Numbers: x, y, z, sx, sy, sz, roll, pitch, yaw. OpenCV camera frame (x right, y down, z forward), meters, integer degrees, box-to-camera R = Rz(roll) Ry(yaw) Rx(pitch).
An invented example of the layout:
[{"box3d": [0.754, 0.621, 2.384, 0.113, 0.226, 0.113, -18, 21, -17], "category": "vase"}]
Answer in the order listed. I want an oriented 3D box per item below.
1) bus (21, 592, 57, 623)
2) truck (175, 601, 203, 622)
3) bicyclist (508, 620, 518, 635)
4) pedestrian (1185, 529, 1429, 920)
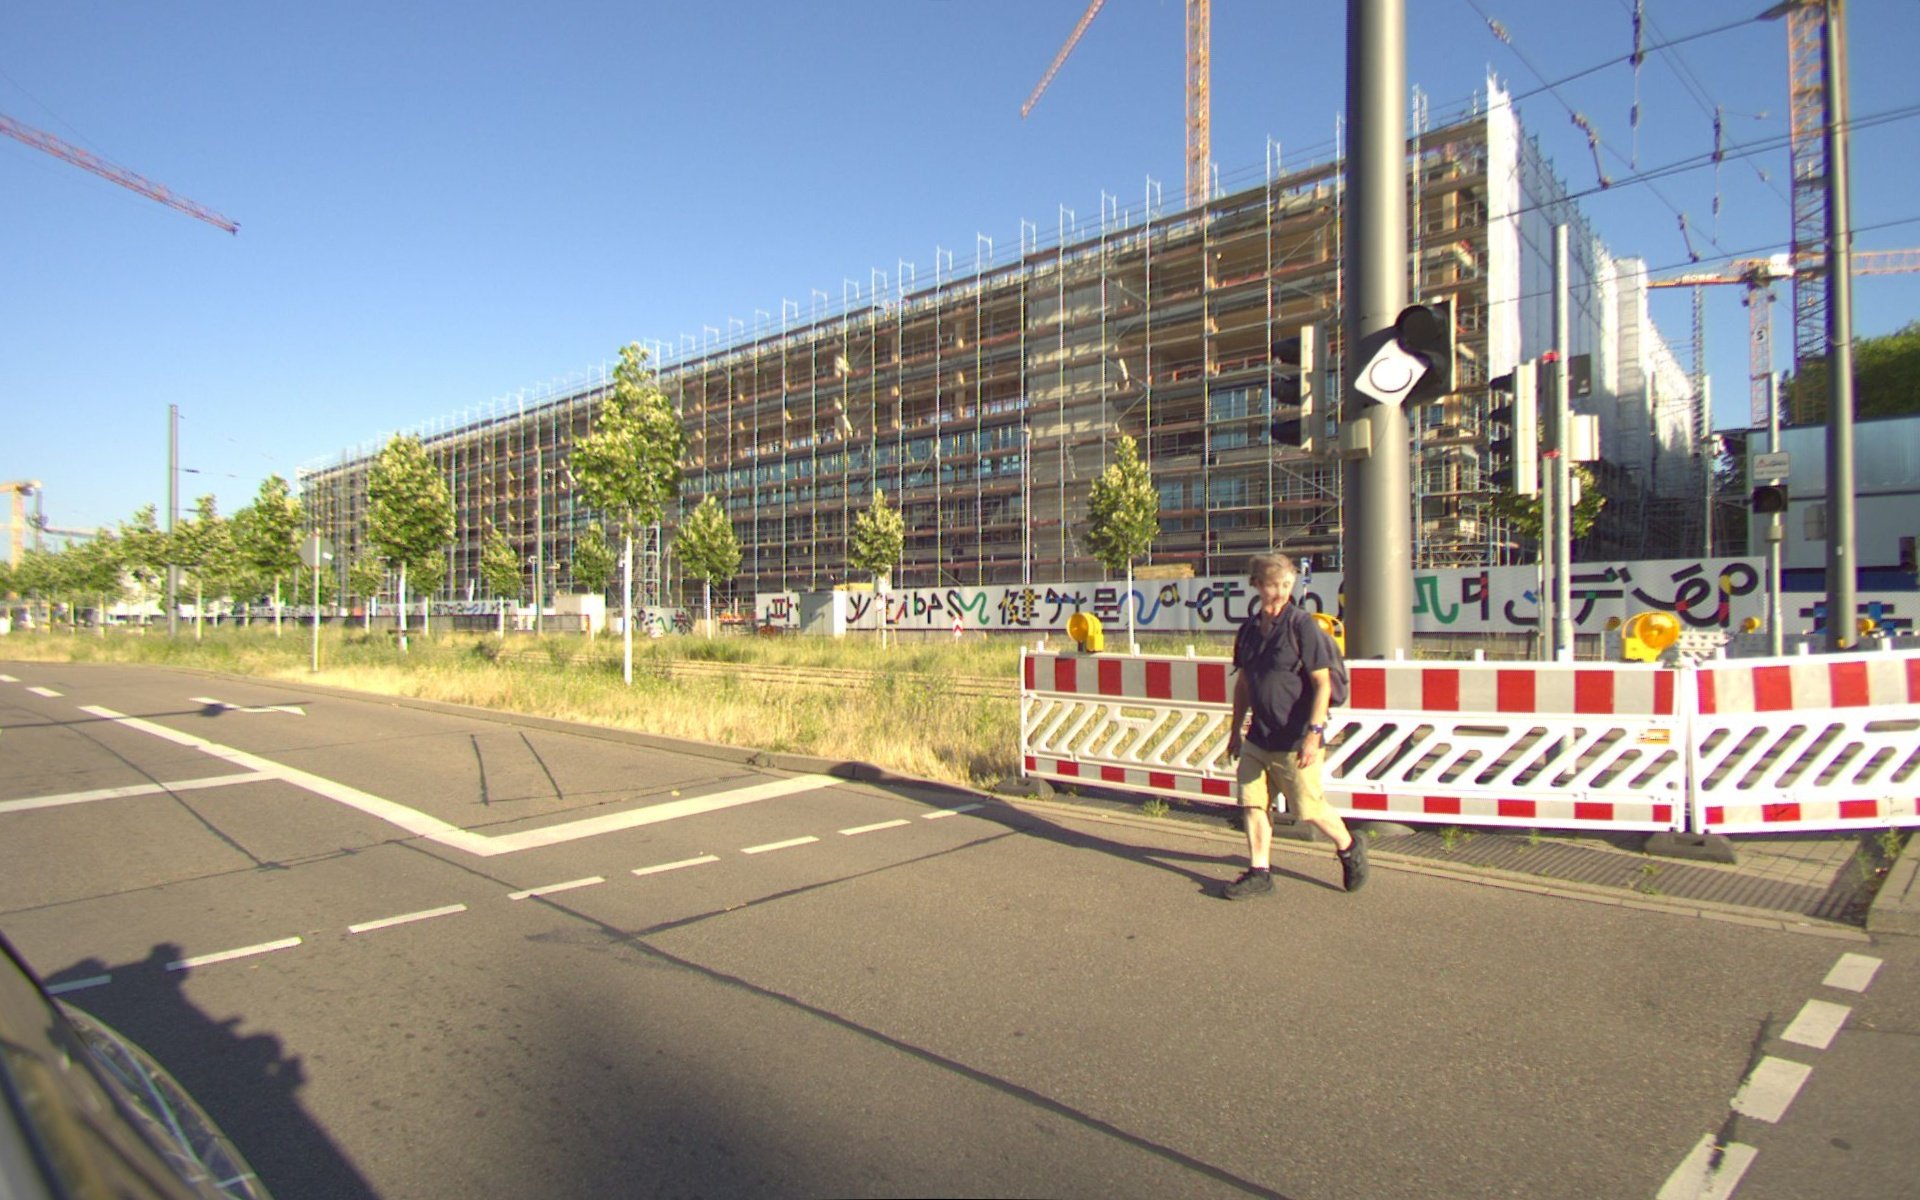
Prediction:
[{"box3d": [-101.696, 0.884, 111.725, 2.685, 3.247, 8.662, 1, -2, -44], "category": "bus"}, {"box3d": [-100.531, 1.534, 131.971, 4.740, 2.593, 2.114, -2, -2, 43], "category": "truck"}, {"box3d": [-35.384, 2.196, 80.094, 0.638, 1.162, 0.473, -1, -2, 42], "category": "bicyclist"}, {"box3d": [1.683, 0.536, 4.900, 0.913, 1.661, 0.766, 1, -1, -42], "category": "pedestrian"}]
